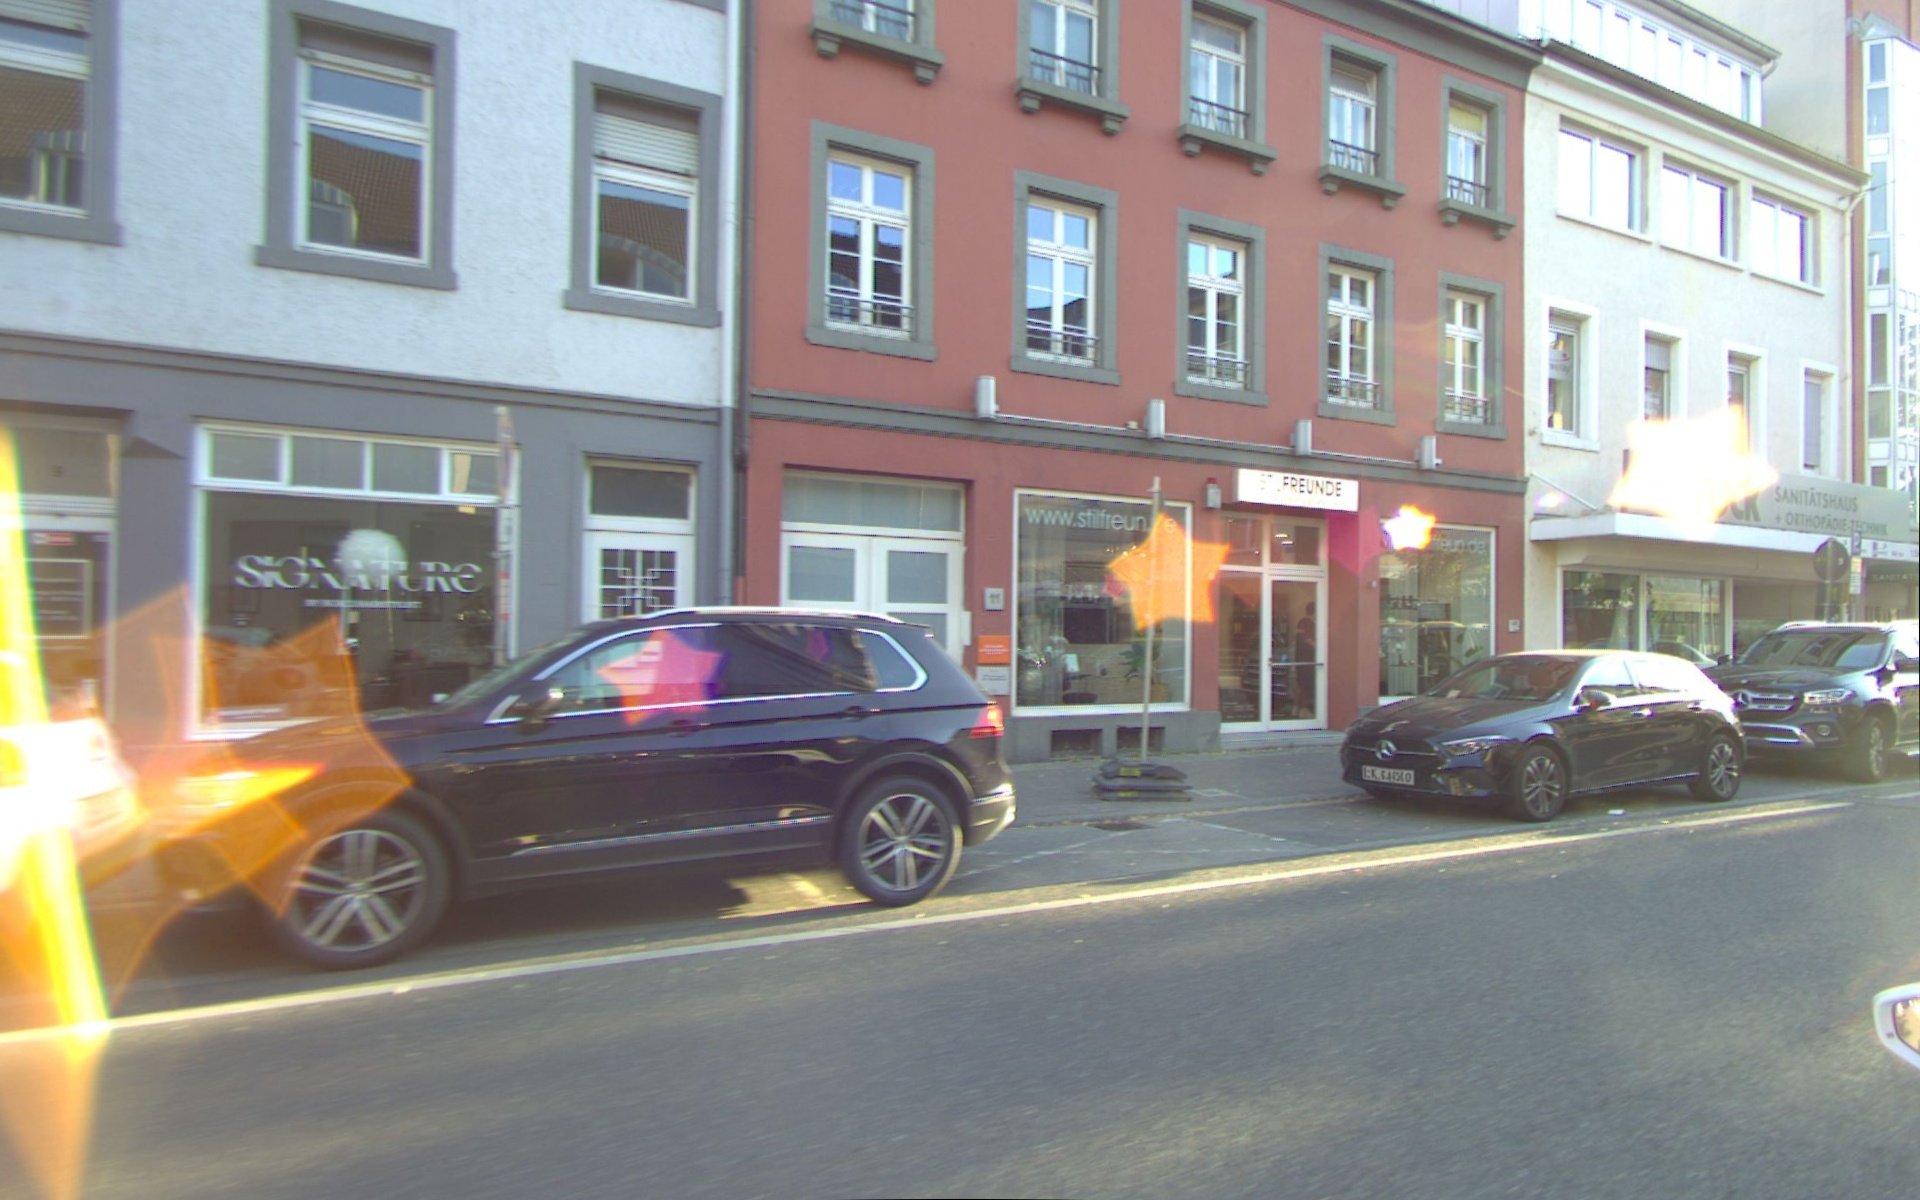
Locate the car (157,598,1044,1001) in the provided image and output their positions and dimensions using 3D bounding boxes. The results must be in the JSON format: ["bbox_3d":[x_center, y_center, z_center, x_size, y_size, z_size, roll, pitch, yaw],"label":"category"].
[{"bbox_3d":[-1.760,0.903,5.849,4.180,1.654,1.769,1,-3,-25],"label":"car"}]

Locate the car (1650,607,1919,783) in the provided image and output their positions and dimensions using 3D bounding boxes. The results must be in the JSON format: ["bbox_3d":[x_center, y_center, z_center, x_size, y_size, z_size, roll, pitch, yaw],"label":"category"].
[{"bbox_3d":[11.123,1.092,12.574,5.280,1.834,1.821,1,-3,-27],"label":"car"}]

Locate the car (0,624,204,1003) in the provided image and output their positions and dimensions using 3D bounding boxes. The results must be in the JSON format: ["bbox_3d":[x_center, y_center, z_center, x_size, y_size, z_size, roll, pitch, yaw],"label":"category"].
[{"bbox_3d":[-5.802,0.875,4.182,3.896,1.534,1.769,1,-3,-25],"label":"car"}]

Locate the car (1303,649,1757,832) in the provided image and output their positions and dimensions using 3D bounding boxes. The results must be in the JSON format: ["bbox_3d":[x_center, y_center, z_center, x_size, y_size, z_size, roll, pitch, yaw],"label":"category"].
[{"bbox_3d":[5.567,1.207,9.765,4.251,1.459,1.708,1,-3,-25],"label":"car"}]
